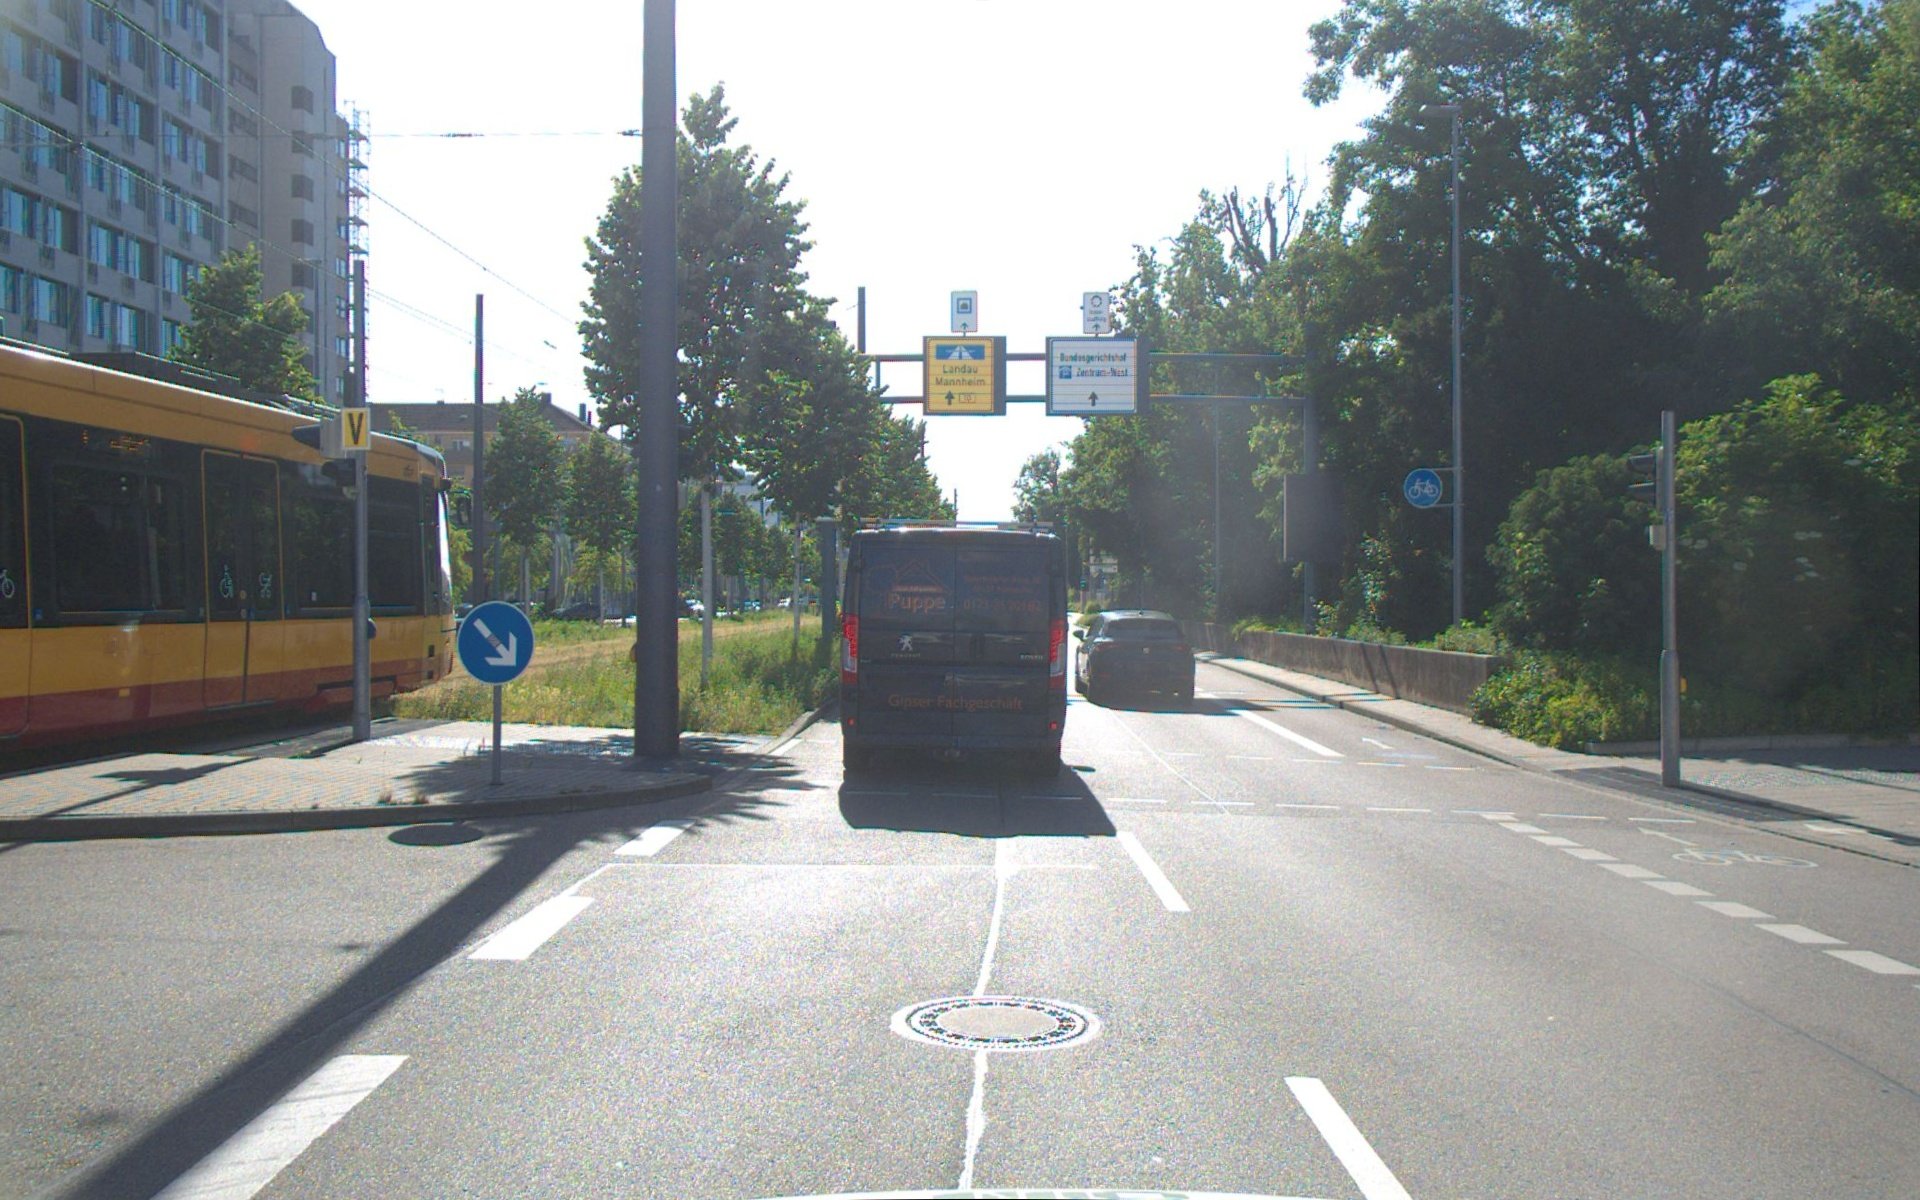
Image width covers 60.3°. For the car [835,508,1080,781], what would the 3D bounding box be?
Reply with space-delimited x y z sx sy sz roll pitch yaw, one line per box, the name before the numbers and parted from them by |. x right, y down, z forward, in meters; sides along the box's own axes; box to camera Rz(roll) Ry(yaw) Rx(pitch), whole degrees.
car | -0.010 0.383 16.062 2.039 2.288 4.000 1 0 0

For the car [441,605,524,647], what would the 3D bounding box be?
car | -18.824 1.008 65.346 1.952 1.579 4.001 1 0 2

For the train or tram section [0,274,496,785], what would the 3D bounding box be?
train or tram section | -7.713 -0.505 16.923 1.952 3.733 11.688 1 0 3

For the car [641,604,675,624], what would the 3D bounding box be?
car | -24.713 1.128 135.544 1.952 1.579 4.001 1 0 2

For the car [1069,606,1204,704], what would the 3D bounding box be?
car | 2.874 0.855 27.663 1.727 1.488 3.999 1 0 -1
